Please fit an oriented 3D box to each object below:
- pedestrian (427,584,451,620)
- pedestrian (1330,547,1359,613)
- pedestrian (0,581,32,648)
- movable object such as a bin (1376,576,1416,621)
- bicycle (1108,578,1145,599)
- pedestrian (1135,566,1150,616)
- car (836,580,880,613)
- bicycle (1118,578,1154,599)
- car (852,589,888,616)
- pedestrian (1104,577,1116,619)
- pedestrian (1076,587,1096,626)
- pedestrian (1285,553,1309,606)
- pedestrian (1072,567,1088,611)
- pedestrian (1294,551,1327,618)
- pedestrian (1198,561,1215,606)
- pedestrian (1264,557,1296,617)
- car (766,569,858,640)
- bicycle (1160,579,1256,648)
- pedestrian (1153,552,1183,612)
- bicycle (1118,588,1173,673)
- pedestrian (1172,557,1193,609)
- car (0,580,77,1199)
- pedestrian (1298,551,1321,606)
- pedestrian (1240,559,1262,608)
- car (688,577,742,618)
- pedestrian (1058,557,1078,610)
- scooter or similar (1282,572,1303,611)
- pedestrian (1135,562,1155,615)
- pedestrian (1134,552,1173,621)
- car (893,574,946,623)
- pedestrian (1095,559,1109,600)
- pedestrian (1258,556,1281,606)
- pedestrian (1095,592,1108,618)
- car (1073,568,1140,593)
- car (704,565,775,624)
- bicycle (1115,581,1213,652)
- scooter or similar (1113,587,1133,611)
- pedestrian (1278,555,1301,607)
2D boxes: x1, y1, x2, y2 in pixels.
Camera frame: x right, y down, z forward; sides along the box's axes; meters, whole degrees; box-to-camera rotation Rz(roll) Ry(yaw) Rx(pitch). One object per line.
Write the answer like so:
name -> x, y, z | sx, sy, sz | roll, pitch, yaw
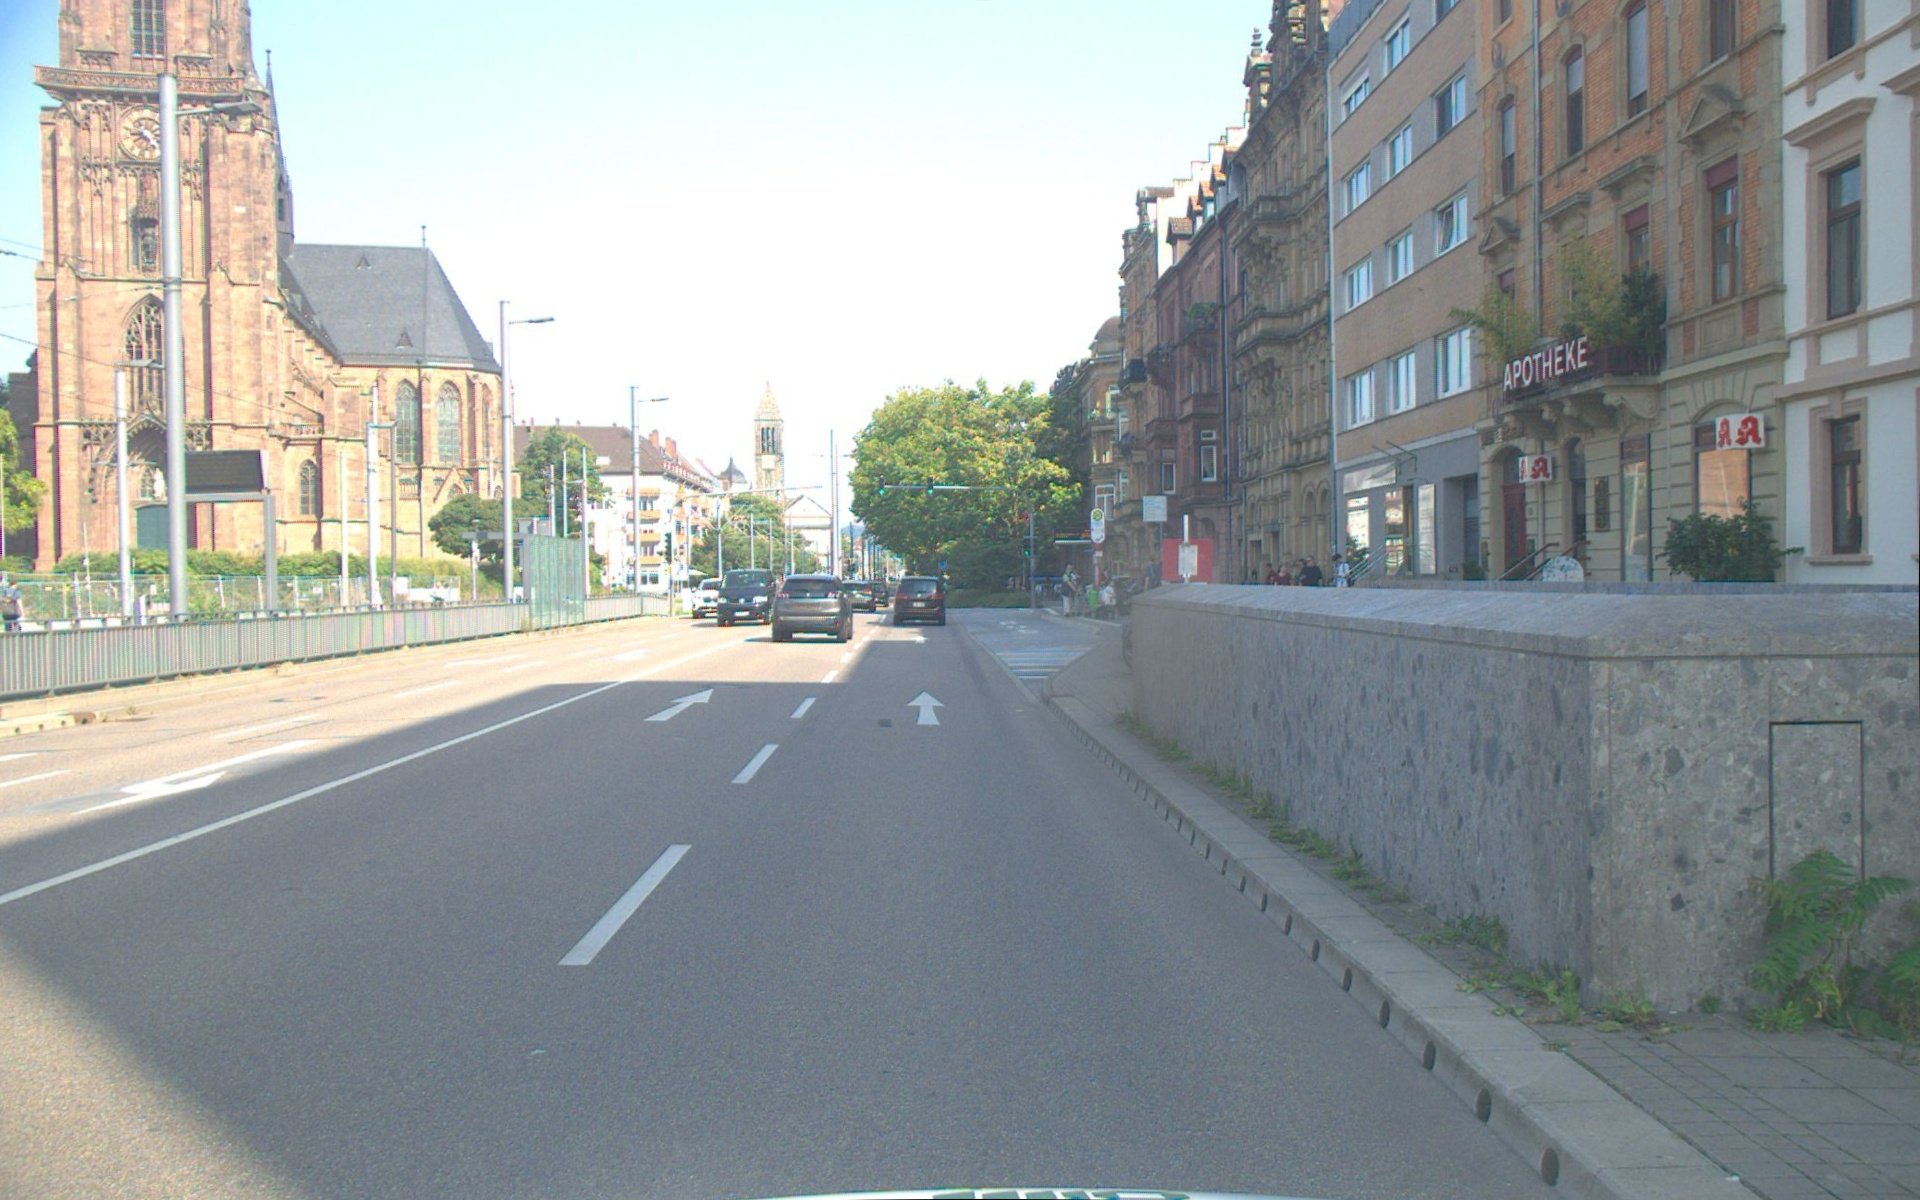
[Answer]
pedestrian -> -25.020, 0.110, 79.393 | 0.899, 1.709, 0.601 | -1, 1, 30
pedestrian -> 10.937, -0.577, 47.029 | 0.591, 1.863, 0.742 | -1, 1, -5
pedestrian -> -24.803, 0.383, 43.391 | 0.507, 1.730, 0.664 | -1, 1, -2
movable object such as a bin -> 10.878, -0.033, 41.272 | 0.725, 1.099, 0.666 | -1, 1, -18
bicycle -> 9.060, -0.622, 90.004 | 1.891, 1.066, 0.499 | -1, 1, -7
pedestrian -> 6.494, -0.328, 58.836 | 0.334, 1.763, 0.805 | -1, 1, -5
car -> -4.653, -0.186, 75.956 | 1.826, 1.449, 4.356 | 0, 1, -1
bicycle -> 9.659, -0.641, 90.973 | 1.891, 1.066, 0.499 | -1, 1, -7
car -> -5.074, 0.115, 93.634 | 1.826, 1.449, 4.356 | 0, 1, -1
pedestrian -> 4.767, -0.065, 52.578 | 0.270, 1.296, 0.447 | -1, 1, -8
pedestrian -> 4.255, 0.213, 55.759 | 0.554, 1.300, 0.596 | -1, 1, -5
pedestrian -> 11.023, -0.679, 54.093 | 0.591, 1.721, 0.586 | -1, 1, -5
pedestrian -> 4.588, -0.420, 63.278 | 0.517, 1.640, 0.702 | -1, 1, -5
pedestrian -> 9.691, -0.440, 45.708 | 0.705, 1.818, 0.856 | -1, 1, -1
pedestrian -> 8.977, -0.602, 60.179 | 0.476, 1.638, 0.812 | -1, 1, 0
pedestrian -> 8.900, -0.363, 46.012 | 0.705, 1.638, 0.856 | -1, 1, -1
car -> -3.610, 0.061, 40.970 | 1.953, 1.649, 4.356 | 0, 1, -1
bicycle -> 4.360, 0.236, 29.136 | 1.599, 1.168, 0.601 | -1, 1, 0
pedestrian -> 6.231, -0.536, 49.582 | 0.735, 1.759, 0.800 | -1, 1, -5
bicycle -> 2.672, 0.418, 23.904 | 0.399, 1.168, 1.654 | -1, 1, -7
pedestrian -> 8.083, -0.620, 60.117 | 0.604, 1.835, 1.071 | -1, 1, 0
car -> -2.997, 0.706, 1.620 | 1.772, 1.452, 4.773 | 2, 1, -2
pedestrian -> 11.227, -0.691, 53.121 | 0.591, 1.761, 0.510 | -1, 1, -5
pedestrian -> 10.546, -0.590, 59.960 | 0.617, 1.749, 0.690 | -1, 1, -2
car -> -10.465, -0.124, 70.837 | 1.678, 1.639, 4.503 | -2, 1, -2
pedestrian -> 3.633, -0.560, 55.603 | 0.554, 1.759, 0.745 | -1, 1, -5
scooter or similar -> 10.426, -0.276, 51.913 | 0.353, 1.183, 1.151 | -1, 1, -4
pedestrian -> 6.214, -0.396, 55.529 | 0.554, 1.759, 0.617 | -1, 1, -5
pedestrian -> 5.358, -0.374, 45.861 | 0.907, 1.863, 0.800 | -1, 1, -5
car -> -1.426, -0.071, 58.673 | 1.794, 1.649, 4.356 | 0, 1, -1
pedestrian -> 5.973, -0.870, 69.624 | 0.472, 1.731, 0.702 | -1, 1, -5
pedestrian -> 10.613, -0.655, 56.730 | 0.591, 1.683, 0.586 | -1, 1, -5
pedestrian -> 4.600, 0.168, 53.733 | 0.297, 0.834, 0.603 | -1, 1, -9
car -> 9.671, -1.295, 109.488 | 4.099, 1.590, 1.998 | -1, 1, -6
car -> -7.832, -0.210, 59.055 | 1.953, 1.937, 4.715 | -2, 1, -2
bicycle -> 3.508, 0.278, 28.442 | 1.601, 1.168, 0.385 | -1, 1, -7
scooter or similar -> 5.484, -0.035, 55.624 | 0.554, 0.754, 0.514 | -1, 1, -5
pedestrian -> 10.924, -0.627, 54.780 | 0.591, 1.721, 0.586 | -1, 1, -5
